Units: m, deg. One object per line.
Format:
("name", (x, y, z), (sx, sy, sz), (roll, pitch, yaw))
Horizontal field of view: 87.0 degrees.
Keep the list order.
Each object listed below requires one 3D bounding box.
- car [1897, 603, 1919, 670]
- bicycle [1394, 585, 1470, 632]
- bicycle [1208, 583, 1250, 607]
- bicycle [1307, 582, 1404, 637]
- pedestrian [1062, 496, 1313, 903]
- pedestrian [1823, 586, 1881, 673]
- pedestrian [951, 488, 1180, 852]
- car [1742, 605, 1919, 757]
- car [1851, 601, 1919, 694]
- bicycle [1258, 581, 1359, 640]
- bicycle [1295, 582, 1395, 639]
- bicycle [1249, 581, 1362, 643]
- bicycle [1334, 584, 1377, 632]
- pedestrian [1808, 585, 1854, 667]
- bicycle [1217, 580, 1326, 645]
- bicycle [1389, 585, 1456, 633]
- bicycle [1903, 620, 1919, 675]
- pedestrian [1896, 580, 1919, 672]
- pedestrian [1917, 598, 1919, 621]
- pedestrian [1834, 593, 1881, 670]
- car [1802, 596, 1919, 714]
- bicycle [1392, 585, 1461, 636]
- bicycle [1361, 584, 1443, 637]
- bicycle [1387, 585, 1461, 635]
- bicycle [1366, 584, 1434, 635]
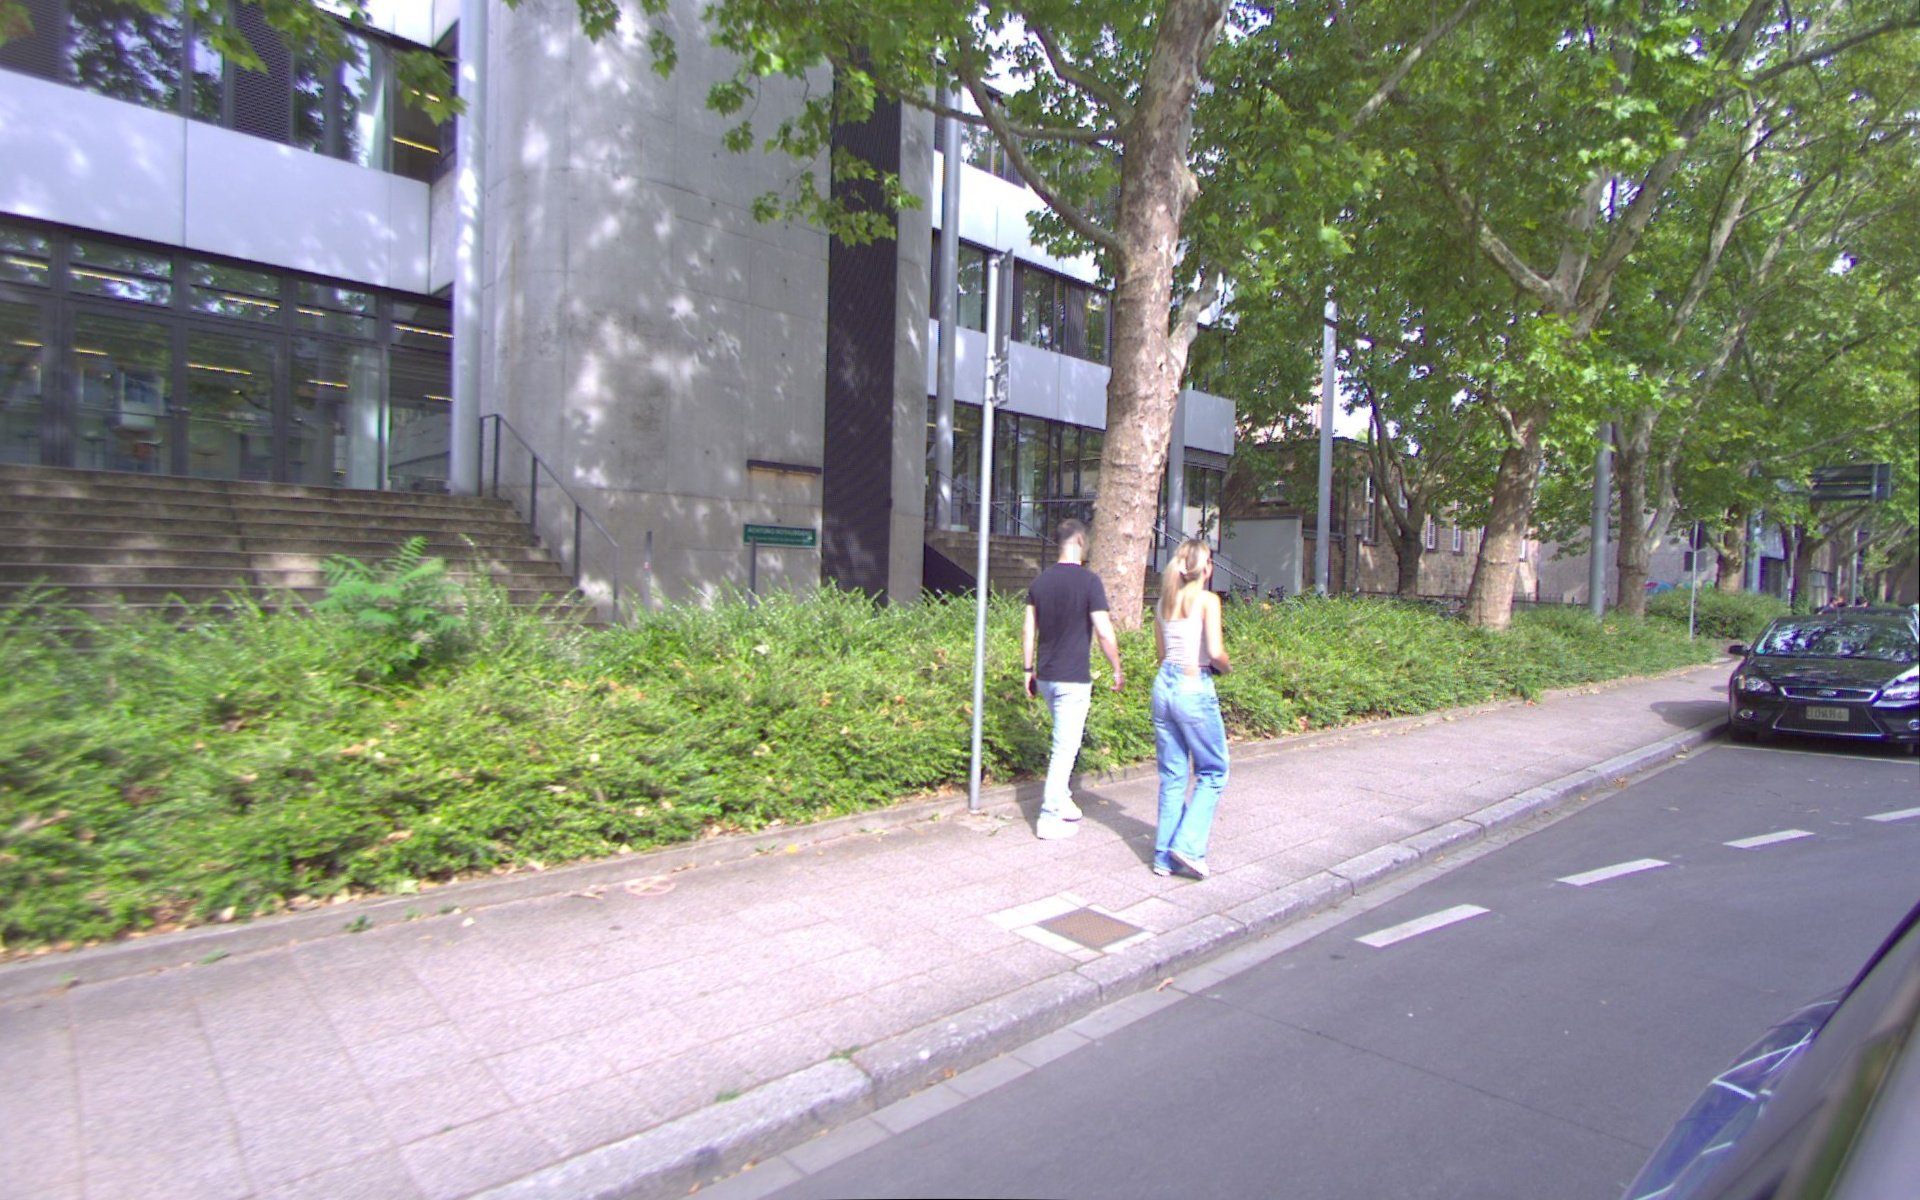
("car", (23.870, 0.833, 24.477), (1.680, 1.535, 4.472), (-1, -1, 44))
("bicycle", (12.433, 0.208, 26.687), (1.673, 1.131, 0.595), (4, 2, 41))
("bicycle", (10.781, -0.191, 40.591), (0.499, 0.889, 1.624), (-2, 3, -38))
("bicycle", (9.030, 0.198, 23.161), (0.662, 1.131, 1.918), (1, 3, -43))
("pedestrian", (1.149, 0.417, 5.072), (1.017, 1.805, 0.711), (0, 4, -45))
("pedestrian", (19.474, 0.620, 22.090), (0.767, 1.839, 0.872), (1, 0, -43))
("pedestrian", (0.598, 0.328, 5.661), (1.017, 1.821, 0.715), (0, 4, -45))
("car", (10.422, 0.795, 11.740), (1.698, 1.443, 4.352), (1, 0, 44))
("car", (16.943, 0.786, 17.857), (3.598, 1.521, 1.530), (0, 0, -43))
("bicycle", (7.475, 0.205, 21.785), (0.662, 1.131, 1.918), (1, 3, -43))
("bicycle", (8.437, 0.209, 22.226), (0.662, 1.131, 1.918), (1, 3, -43))
("bicycle", (7.046, 0.220, 20.738), (0.662, 1.131, 2.082), (1, 3, -43))
("bicycle", (9.590, 0.186, 24.524), (0.490, 1.131, 1.416), (4, 2, 41))
("pedestrian", (20.390, 0.601, 23.692), (0.692, 1.878, 0.722), (1, 0, -43))
("bicycle", (6.081, 0.225, 19.846), (0.662, 1.131, 1.918), (1, 3, -43))
("bicycle", (11.813, 0.214, 25.876), (1.446, 1.131, 0.461), (4, 3, 44))
("bicycle", (20.573, 1.007, 20.751), (1.730, 1.119, 0.545), (1, 0, 36))
("pedestrian", (21.538, 0.573, 22.657), (0.737, 2.022, 0.794), (1, 0, -43))
("pedestrian", (62.051, 0.438, 65.006), (0.635, 1.855, 0.643), (0, 5, -44))
("pedestrian", (20.039, 0.689, 22.604), (0.644, 1.679, 0.722), (1, 0, -43))
("car", (13.486, 0.742, 14.694), (2.553, 1.563, 1.538), (0, 0, -41))
("bicycle", (11.201, 0.239, 24.323), (1.377, 1.131, 0.462), (4, 2, 40))
("bicycle", (10.296, 0.224, 23.583), (1.684, 1.131, 0.617), (4, 2, 28))
("bicycle", (11.360, 0.231, 24.796), (1.537, 1.131, 0.462), (4, 2, 40))
("bicycle", (10.509, 0.219, 24.191), (1.373, 1.131, 0.505), (4, 2, 33))
